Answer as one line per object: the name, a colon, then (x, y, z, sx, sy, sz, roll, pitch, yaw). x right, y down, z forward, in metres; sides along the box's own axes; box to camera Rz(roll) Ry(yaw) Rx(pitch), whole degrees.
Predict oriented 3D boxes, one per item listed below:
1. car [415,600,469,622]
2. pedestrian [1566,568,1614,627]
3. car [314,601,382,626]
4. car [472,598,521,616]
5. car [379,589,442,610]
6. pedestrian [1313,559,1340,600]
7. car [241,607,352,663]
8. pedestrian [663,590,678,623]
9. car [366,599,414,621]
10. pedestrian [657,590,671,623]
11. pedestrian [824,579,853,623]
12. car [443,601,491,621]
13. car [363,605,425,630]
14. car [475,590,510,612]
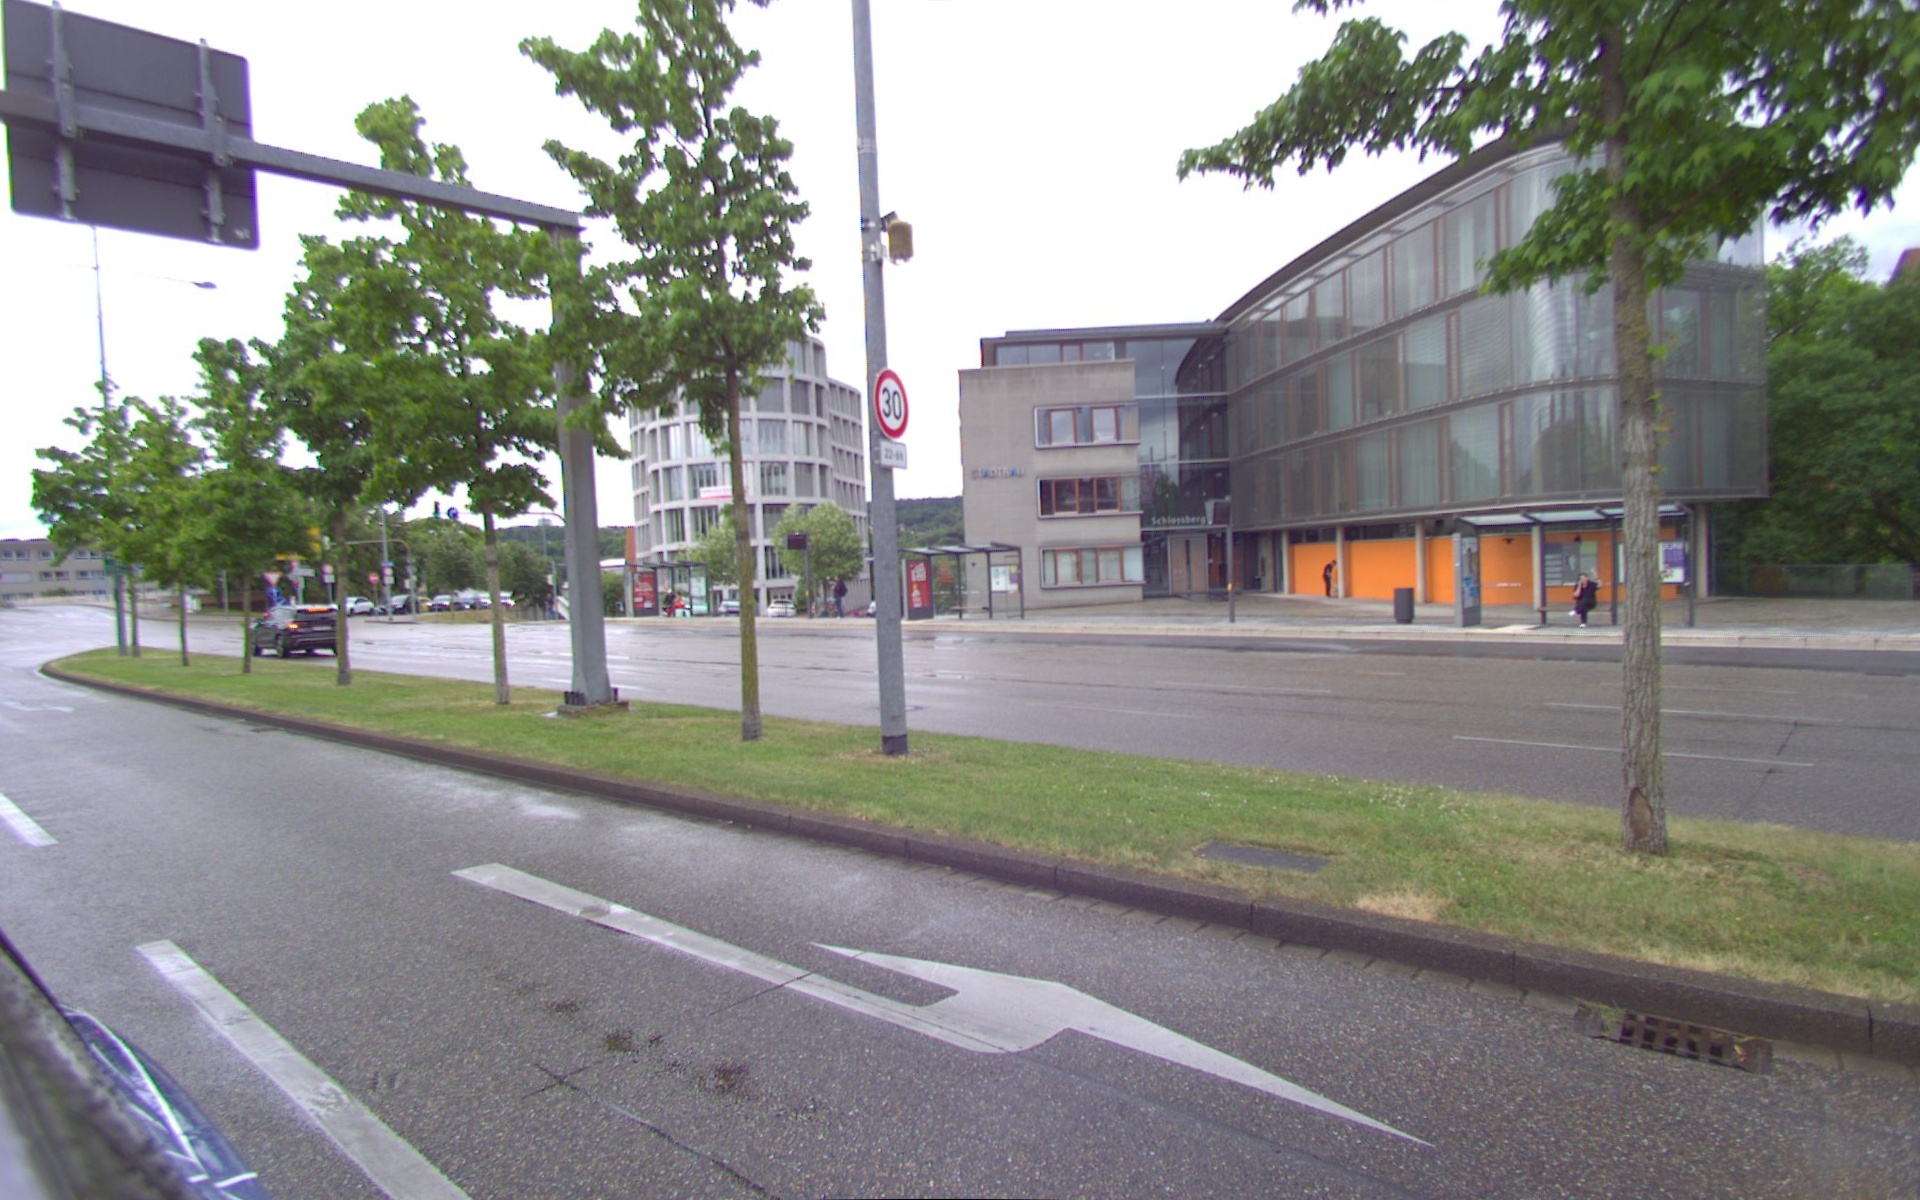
car: (-43.961, 0.878, 86.021, 2.164, 1.725, 4.919, -1, 0, -3)
pedestrian: (14.616, -0.046, 23.471, 0.790, 1.334, 0.793, -1, 0, 42)
car: (-46.399, 1.009, 76.874, 2.165, 1.725, 4.917, -1, 0, 0)
car: (-48.378, 0.771, 105.607, 4.897, 1.725, 2.174, -1, 0, 30)
car: (-54.670, -0.059, 100.772, 4.963, 2.029, 2.311, -1, 0, 0)
pedestrian: (15.097, -0.828, 41.660, 0.697, 1.666, 0.852, -1, 0, -6)
car: (-21.673, 1.100, 32.975, 4.597, 1.652, 1.803, -1, 1, 41)
pedestrian: (-14.550, 0.301, 50.894, 0.535, 1.647, 0.514, -1, 0, 41)
car: (-47.562, 0.852, 84.505, 1.970, 1.807, 4.003, -1, -1, -3)
pedestrian: (-14.721, 0.307, 50.326, 0.501, 1.647, 0.497, -1, 0, 41)
pedestrian: (-4.993, 0.054, 41.717, 0.964, 1.773, 0.783, -1, 0, 12)
car: (-44.970, 1.003, 92.377, 2.164, 1.725, 4.920, -1, 0, -3)
car: (-43.316, 1.300, 77.599, 2.164, 1.725, 4.919, -1, 0, -3)
car: (-46.084, 0.113, 99.821, 1.969, 2.029, 4.005, -1, 0, -6)
